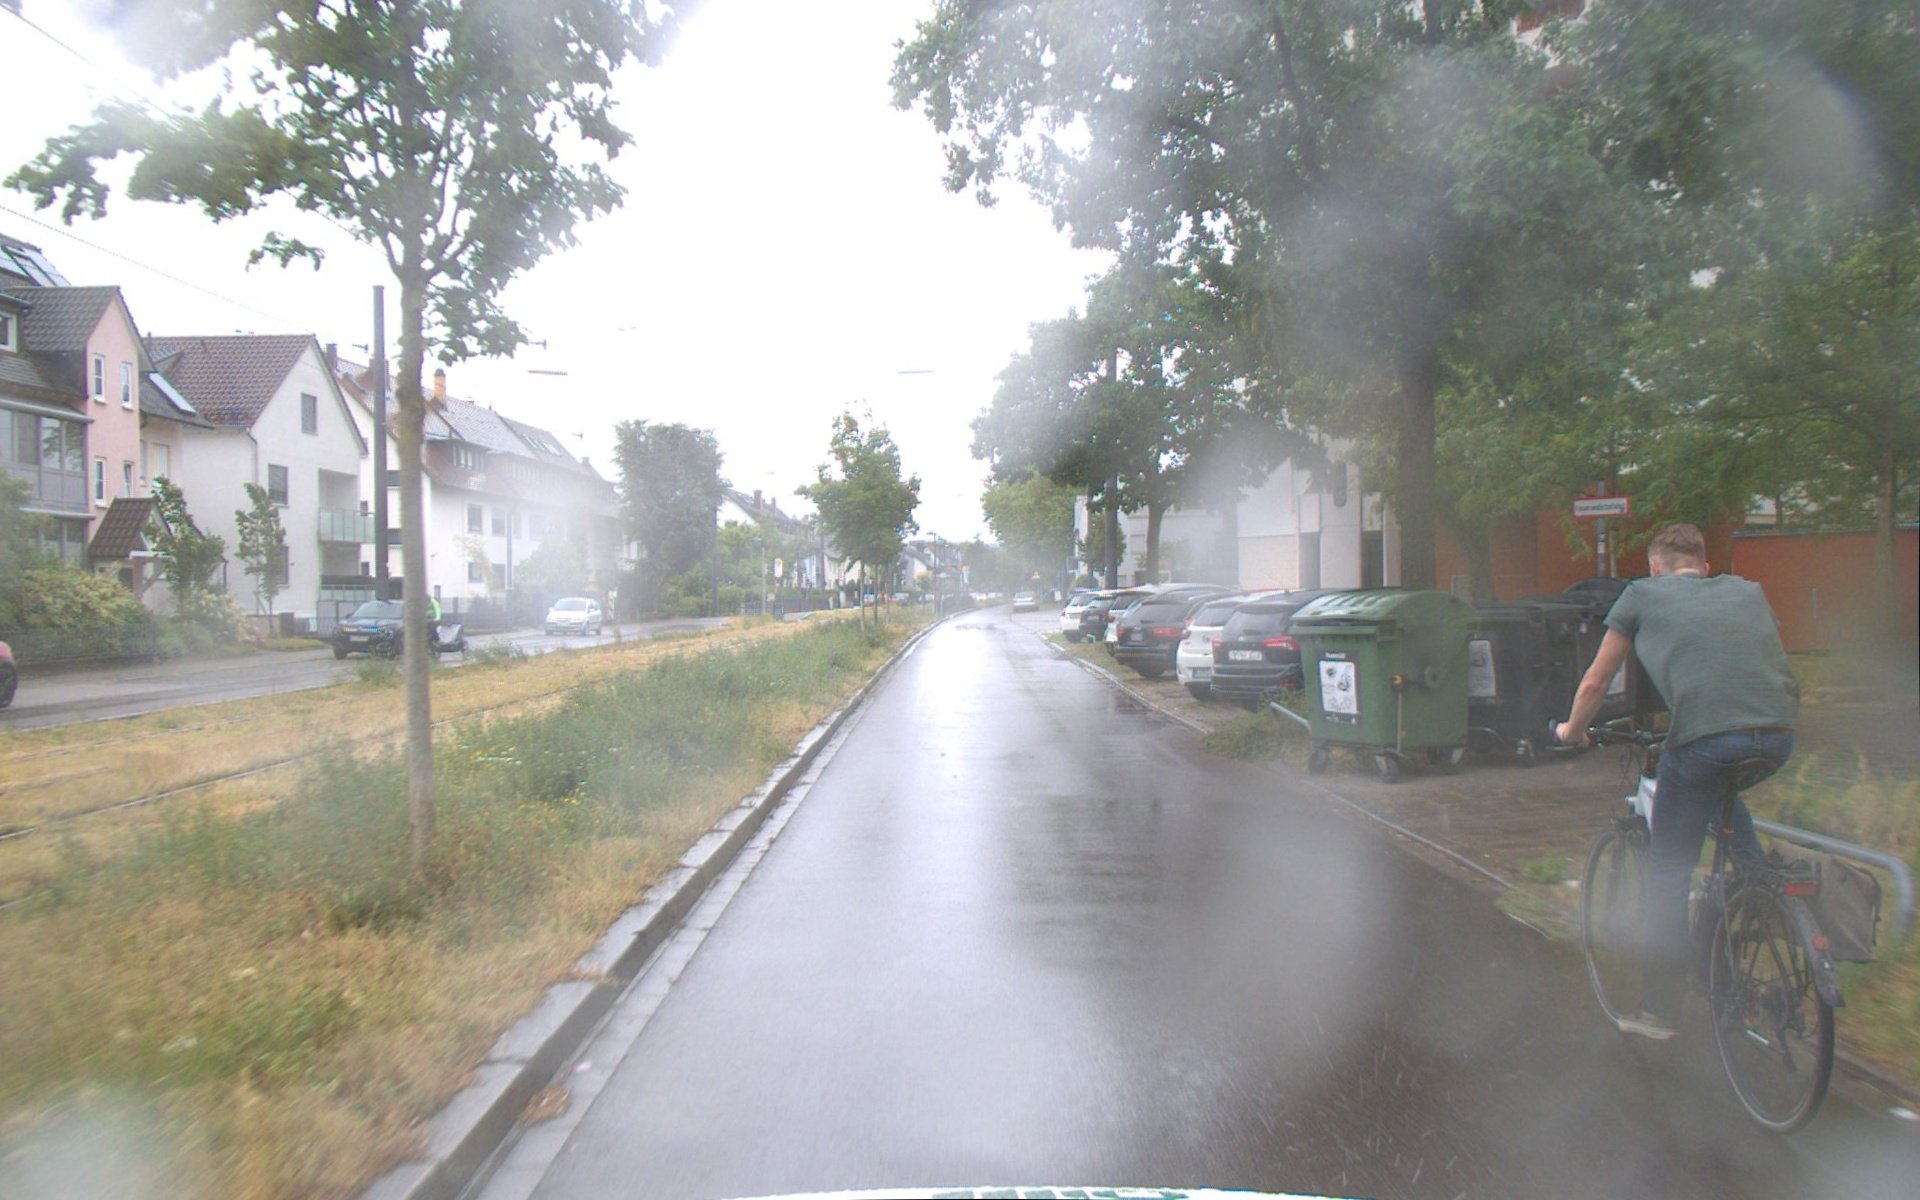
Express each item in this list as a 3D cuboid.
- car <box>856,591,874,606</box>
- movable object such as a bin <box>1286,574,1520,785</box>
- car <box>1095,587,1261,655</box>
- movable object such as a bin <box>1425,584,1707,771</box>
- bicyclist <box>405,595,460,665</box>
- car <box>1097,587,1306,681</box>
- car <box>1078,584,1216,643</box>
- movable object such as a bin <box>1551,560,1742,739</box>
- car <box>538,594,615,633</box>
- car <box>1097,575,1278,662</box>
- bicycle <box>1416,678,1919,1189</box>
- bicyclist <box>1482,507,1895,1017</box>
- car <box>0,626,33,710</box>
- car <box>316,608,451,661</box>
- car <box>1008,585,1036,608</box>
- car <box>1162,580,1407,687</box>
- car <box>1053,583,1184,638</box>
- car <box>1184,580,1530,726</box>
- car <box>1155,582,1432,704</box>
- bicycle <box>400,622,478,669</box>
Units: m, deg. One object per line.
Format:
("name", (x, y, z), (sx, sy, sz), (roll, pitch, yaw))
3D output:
("car", (-10.667, -0.183, 186.191), (1.805, 1.701, 4.000), (-1, 0, 0))
("movable object such as a bin", (3.558, 0.599, 13.386), (1.110, 1.482, 1.392), (-7, 2, -22))
("car", (5.223, 0.477, 39.396), (3.999, 1.471, 1.564), (-2, 0, -38))
("movable object such as a bin", (5.005, 0.594, 13.727), (1.658, 1.349, 1.392), (-4, 1, -22))
("bicyclist", (-13.297, 0.742, 41.707), (0.997, 1.715, 1.091), (-1, 0, -1))
("car", (4.321, 0.557, 29.198), (4.011, 1.468, 1.559), (-2, 1, -45))
("car", (5.415, 0.361, 47.760), (3.999, 1.567, 1.564), (-2, 0, -38))
("movable object such as a bin", (6.365, 0.432, 15.360), (1.230, 1.546, 1.078), (-2, 0, -28))
("car", (-15.543, 0.517, 67.325), (1.857, 1.495, 4.689), (1, 0, 2))
("car", (4.994, 0.373, 36.072), (3.999, 1.733, 1.564), (-2, 0, -38))
("bicycle", (2.311, 0.891, 5.402), (0.793, 1.116, 2.515), (-2, 0, -3))
("bicyclist", (2.298, 0.465, 5.358), (0.793, 1.458, 1.059), (-2, 0, -4))
("car", (-15.546, 1.047, 24.306), (1.640, 1.266, 3.855), (1, 0, 0))
("car", (-15.604, 0.894, 45.030), (1.857, 1.266, 4.689), (1, 0, 2))
("car", (4.520, -0.254, 120.701), (1.795, 1.614, 4.000), (-1, 0, 0))
("car", (5.283, 0.501, 26.719), (3.995, 1.545, 1.566), (-2, 0, -36))
("car", (4.878, 0.295, 50.591), (3.999, 1.539, 1.564), (-2, 0, -38))
("car", (4.929, 0.577, 20.313), (4.179, 1.545, 1.854), (-2, 0, -36))
("car", (4.795, 0.560, 23.572), (3.995, 1.545, 1.566), (-2, 0, -36))
("bicycle", (-13.309, 1.144, 42.335), (0.997, 1.045, 3.196), (-1, 0, -1))
